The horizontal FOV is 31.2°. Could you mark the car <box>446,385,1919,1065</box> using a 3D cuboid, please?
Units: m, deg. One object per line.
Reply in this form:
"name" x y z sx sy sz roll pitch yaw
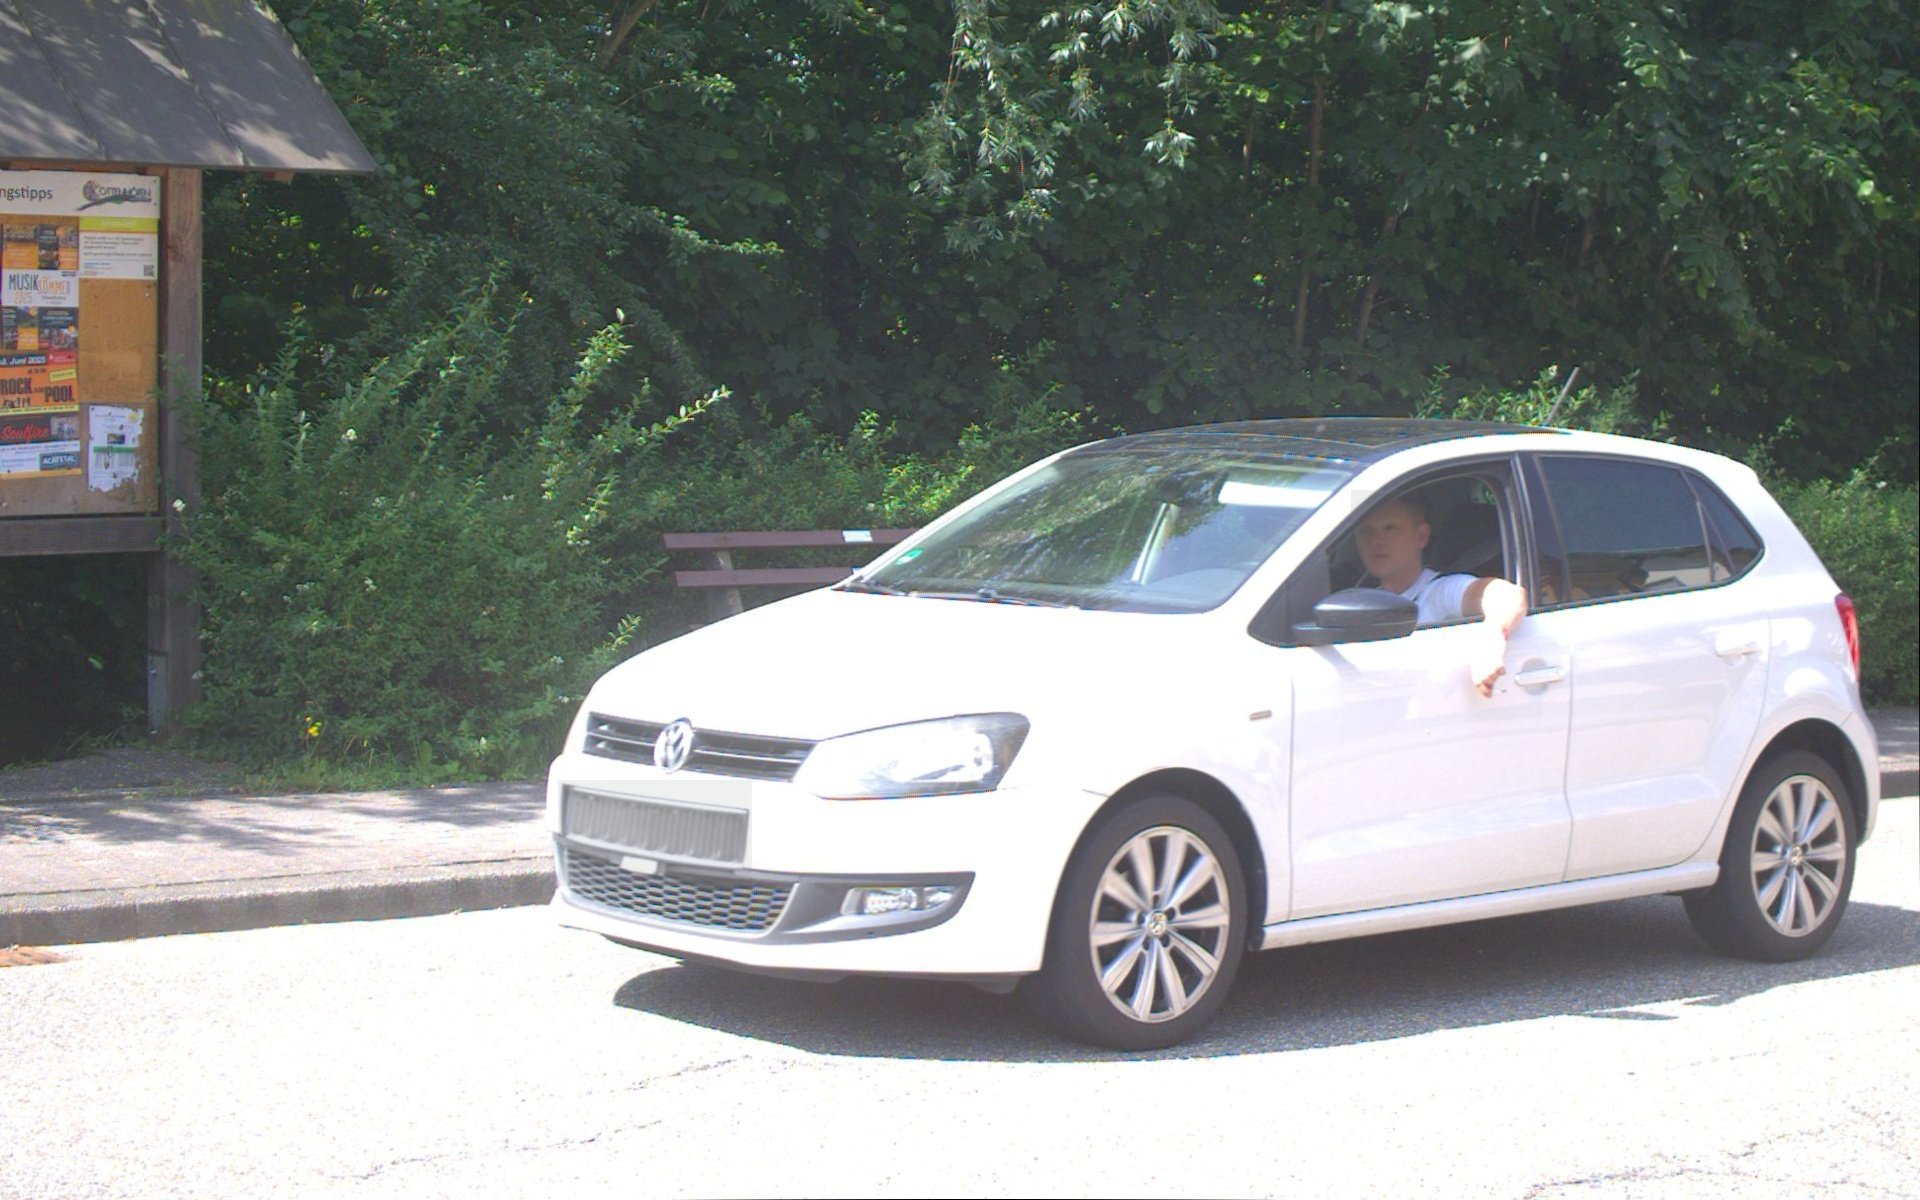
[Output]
"car" 0.739 0.234 8.942 3.816 1.401 1.609 0 2 -42
